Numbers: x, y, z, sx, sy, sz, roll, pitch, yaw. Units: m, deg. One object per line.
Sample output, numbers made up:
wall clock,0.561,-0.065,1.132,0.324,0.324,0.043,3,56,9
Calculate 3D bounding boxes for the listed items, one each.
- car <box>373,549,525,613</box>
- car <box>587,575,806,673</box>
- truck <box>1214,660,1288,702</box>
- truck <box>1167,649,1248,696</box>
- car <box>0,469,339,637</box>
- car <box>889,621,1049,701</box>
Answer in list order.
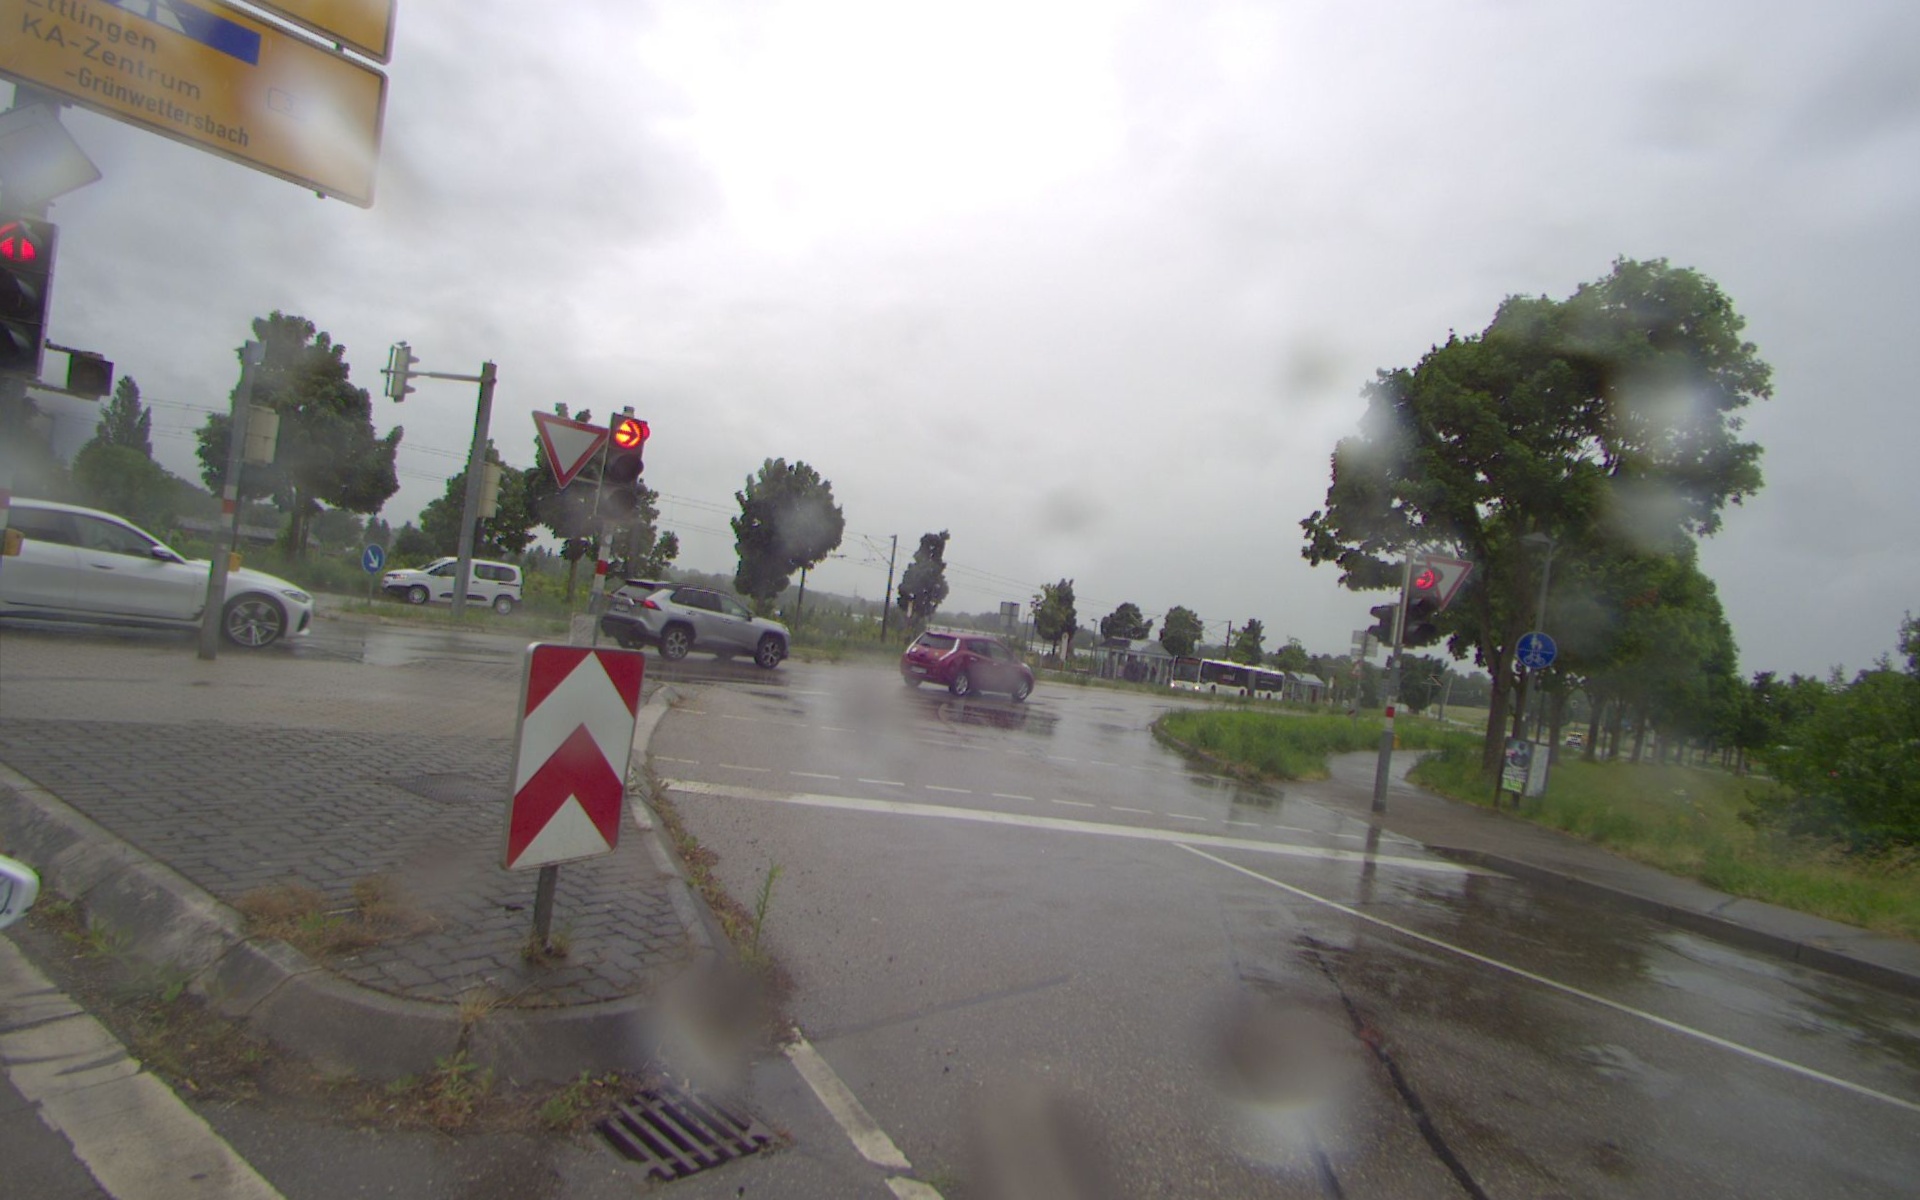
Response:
car,-17.680,-0.631,34.911,4.317,1.572,1.802,9,-1,-40
car,-5.907,0.607,23.066,1.883,1.597,4.531,7,-2,37
truck,25.679,7.144,88.453,2.617,2.804,9.324,7,-2,39
truck,20.119,5.941,81.370,2.616,2.864,8.821,7,-2,39
car,-10.542,-0.623,12.054,1.773,1.572,4.879,7,-1,40
car,0.328,1.653,26.308,1.707,1.598,4.375,7,-2,39
